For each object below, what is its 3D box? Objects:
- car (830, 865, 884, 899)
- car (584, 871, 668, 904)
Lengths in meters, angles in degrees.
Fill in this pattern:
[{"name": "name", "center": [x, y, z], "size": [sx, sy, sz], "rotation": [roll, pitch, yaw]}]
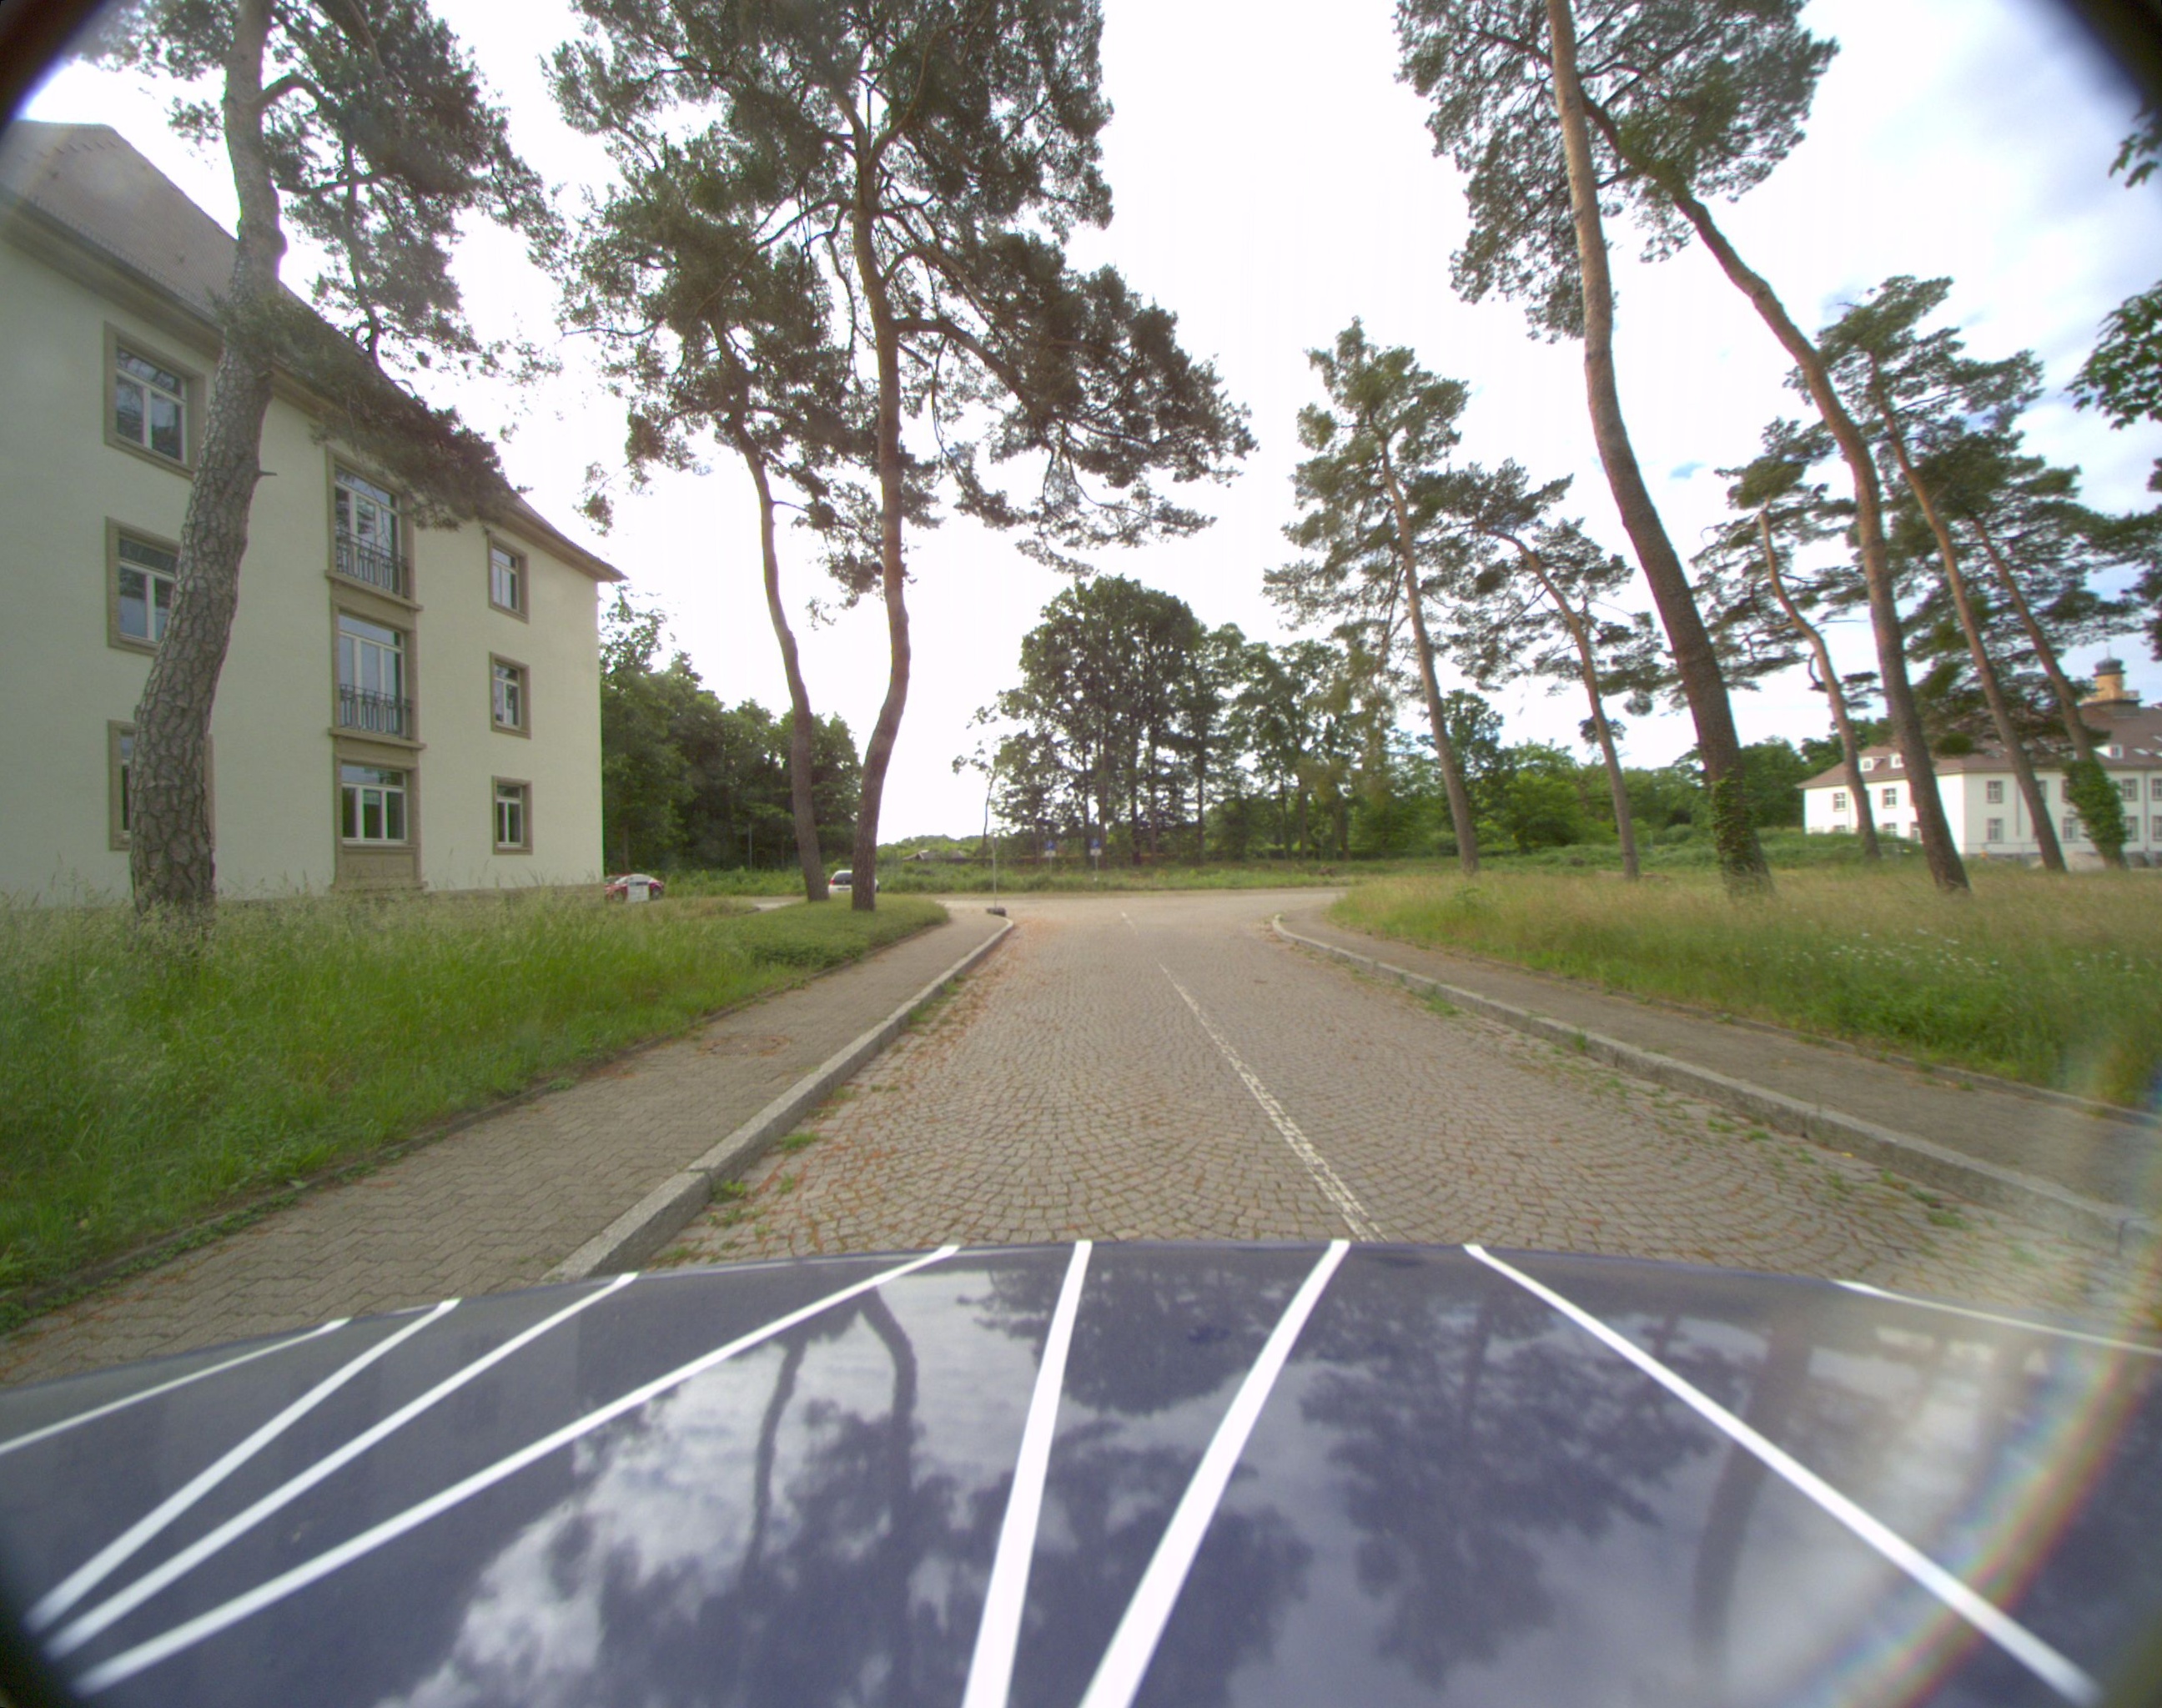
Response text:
[{"name": "car", "center": [-11.116, 1.366, 37.848], "size": [1.641, 1.426, 3.277], "rotation": [-1, 2, 1]}, {"name": "car", "center": [-22.420, 1.607, 37.631], "size": [1.641, 1.321, 3.999], "rotation": [-1, 2, 1]}]
